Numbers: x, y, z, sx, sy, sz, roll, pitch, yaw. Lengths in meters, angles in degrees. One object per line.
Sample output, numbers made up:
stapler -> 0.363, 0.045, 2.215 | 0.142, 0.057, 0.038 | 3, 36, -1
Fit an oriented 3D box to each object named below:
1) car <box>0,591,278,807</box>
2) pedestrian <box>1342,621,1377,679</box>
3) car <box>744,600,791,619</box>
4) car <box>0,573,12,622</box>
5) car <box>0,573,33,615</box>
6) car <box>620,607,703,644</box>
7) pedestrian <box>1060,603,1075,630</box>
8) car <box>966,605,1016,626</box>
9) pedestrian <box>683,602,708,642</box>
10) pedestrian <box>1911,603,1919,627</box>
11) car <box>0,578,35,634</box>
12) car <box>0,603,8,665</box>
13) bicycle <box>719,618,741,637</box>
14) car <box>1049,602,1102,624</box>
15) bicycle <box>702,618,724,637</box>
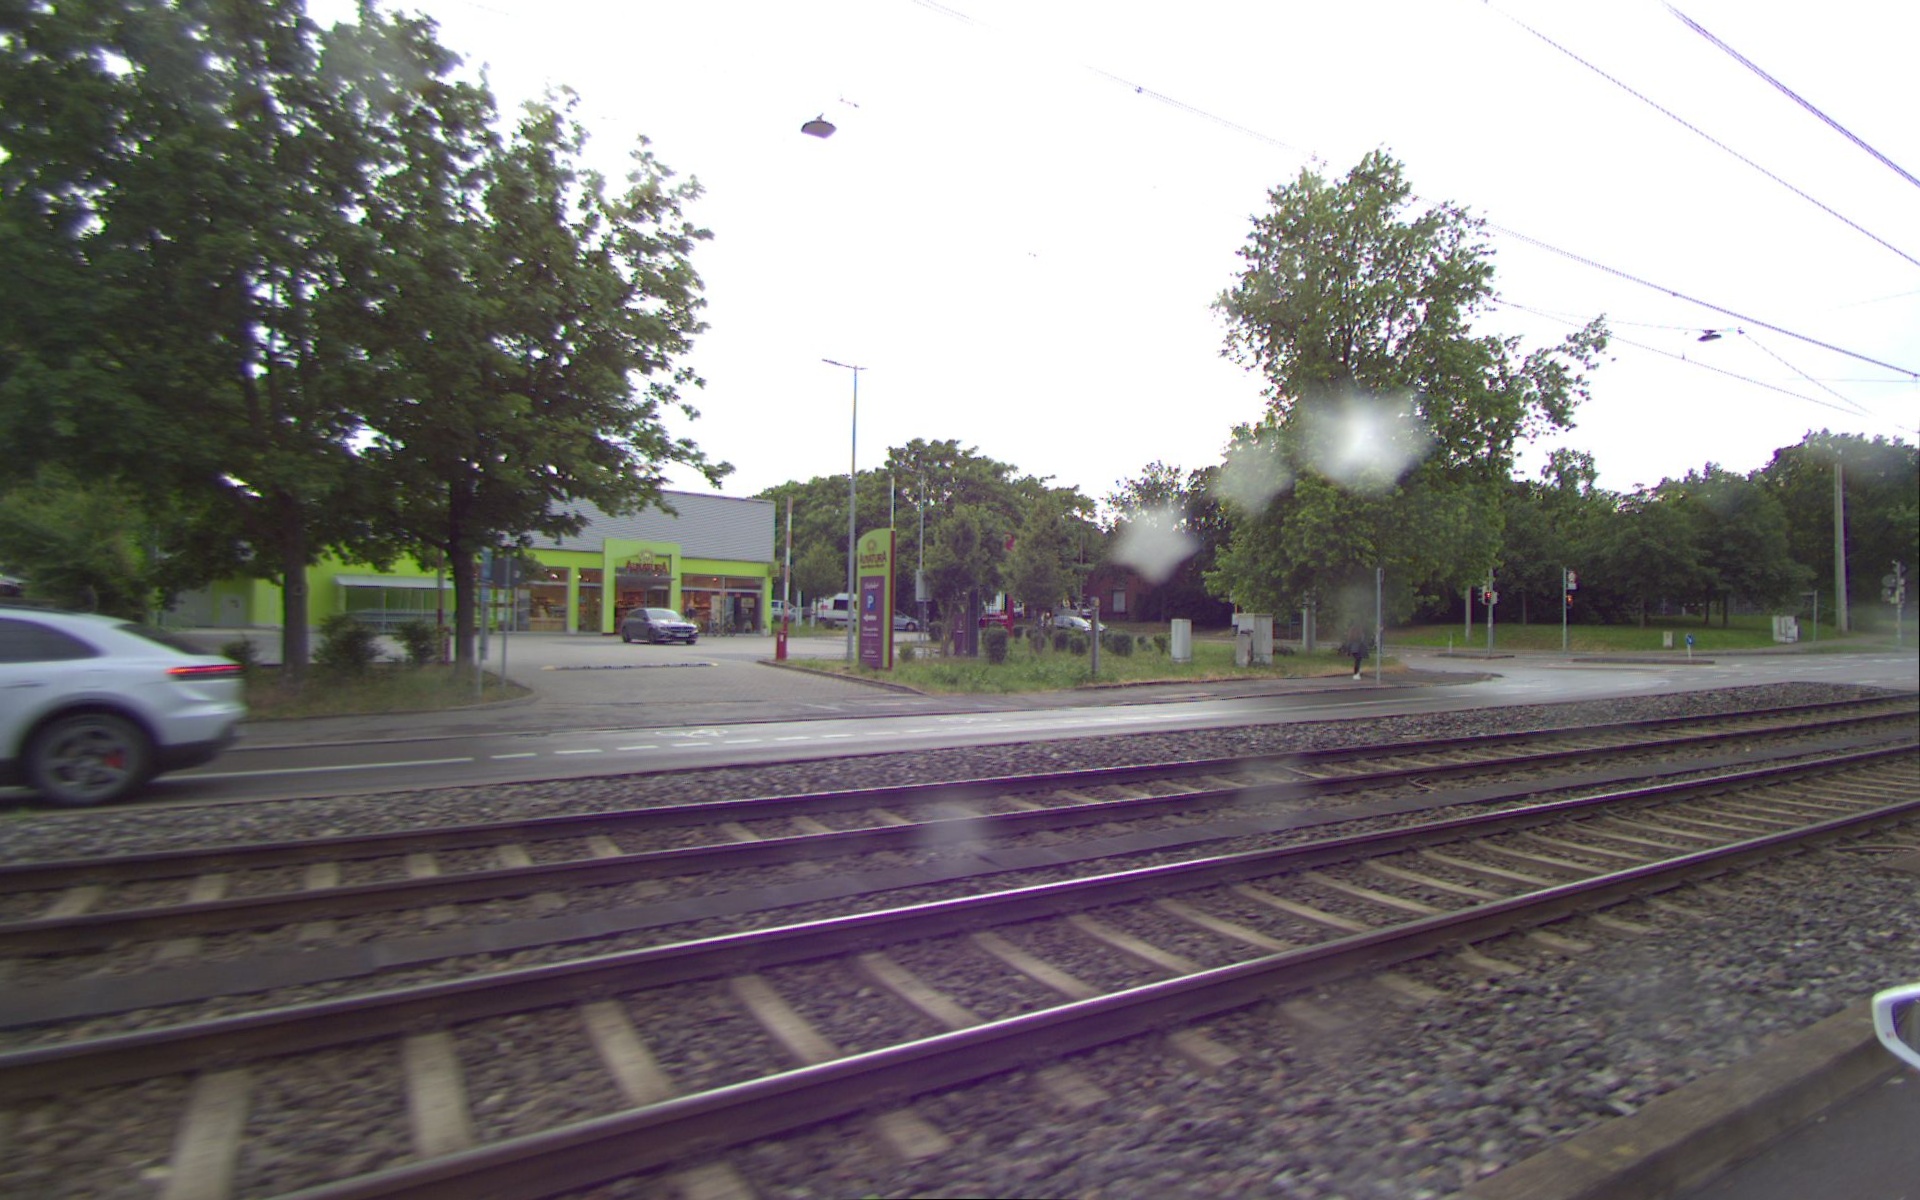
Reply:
car -> -8.528, 0.792, 8.241 | 4.706, 1.671, 1.984 | 1, -3, -32
pedestrian -> 11.153, 1.398, 28.051 | 0.661, 1.552, 0.588 | 3, -1, -31
car -> -16.031, 0.818, 83.667 | 3.663, 1.502, 1.582 | 0, -1, -4
car -> -34.046, -0.189, 33.020 | 3.967, 1.639, 1.672 | 4, -1, -39
car -> -40.278, -0.325, 40.577 | 3.967, 1.639, 1.672 | 4, -1, -39
car -> -11.985, 1.000, 40.162 | 1.760, 1.363, 4.331 | 2, -1, -37
pedestrian -> 6.688, 1.032, 62.508 | 0.598, 1.623, 0.673 | 3, -1, -24
car -> 2.587, 1.286, 84.964 | 1.829, 1.554, 4.151 | 2, 0, -42
pedestrian -> -11.021, 0.923, 41.801 | 0.750, 1.618, 0.797 | 3, -1, -30
pedestrian -> 64.925, 1.029, 67.707 | 1.030, 1.622, 1.006 | 1, -1, -38
car -> -30.853, 0.090, 30.431 | 3.967, 1.673, 1.672 | 4, -1, -39
car -> -24.452, 0.725, 22.757 | 3.967, 1.476, 1.672 | 4, -1, -39
bicycle -> -12.623, 1.515, 55.107 | 0.529, 0.995, 1.597 | 1, 0, -38
car -> 10.765, 1.229, 94.180 | 1.981, 1.829, 5.095 | 3, -1, -36
bicycle -> -13.403, 1.472, 54.528 | 0.529, 0.995, 1.597 | 1, 0, -38
